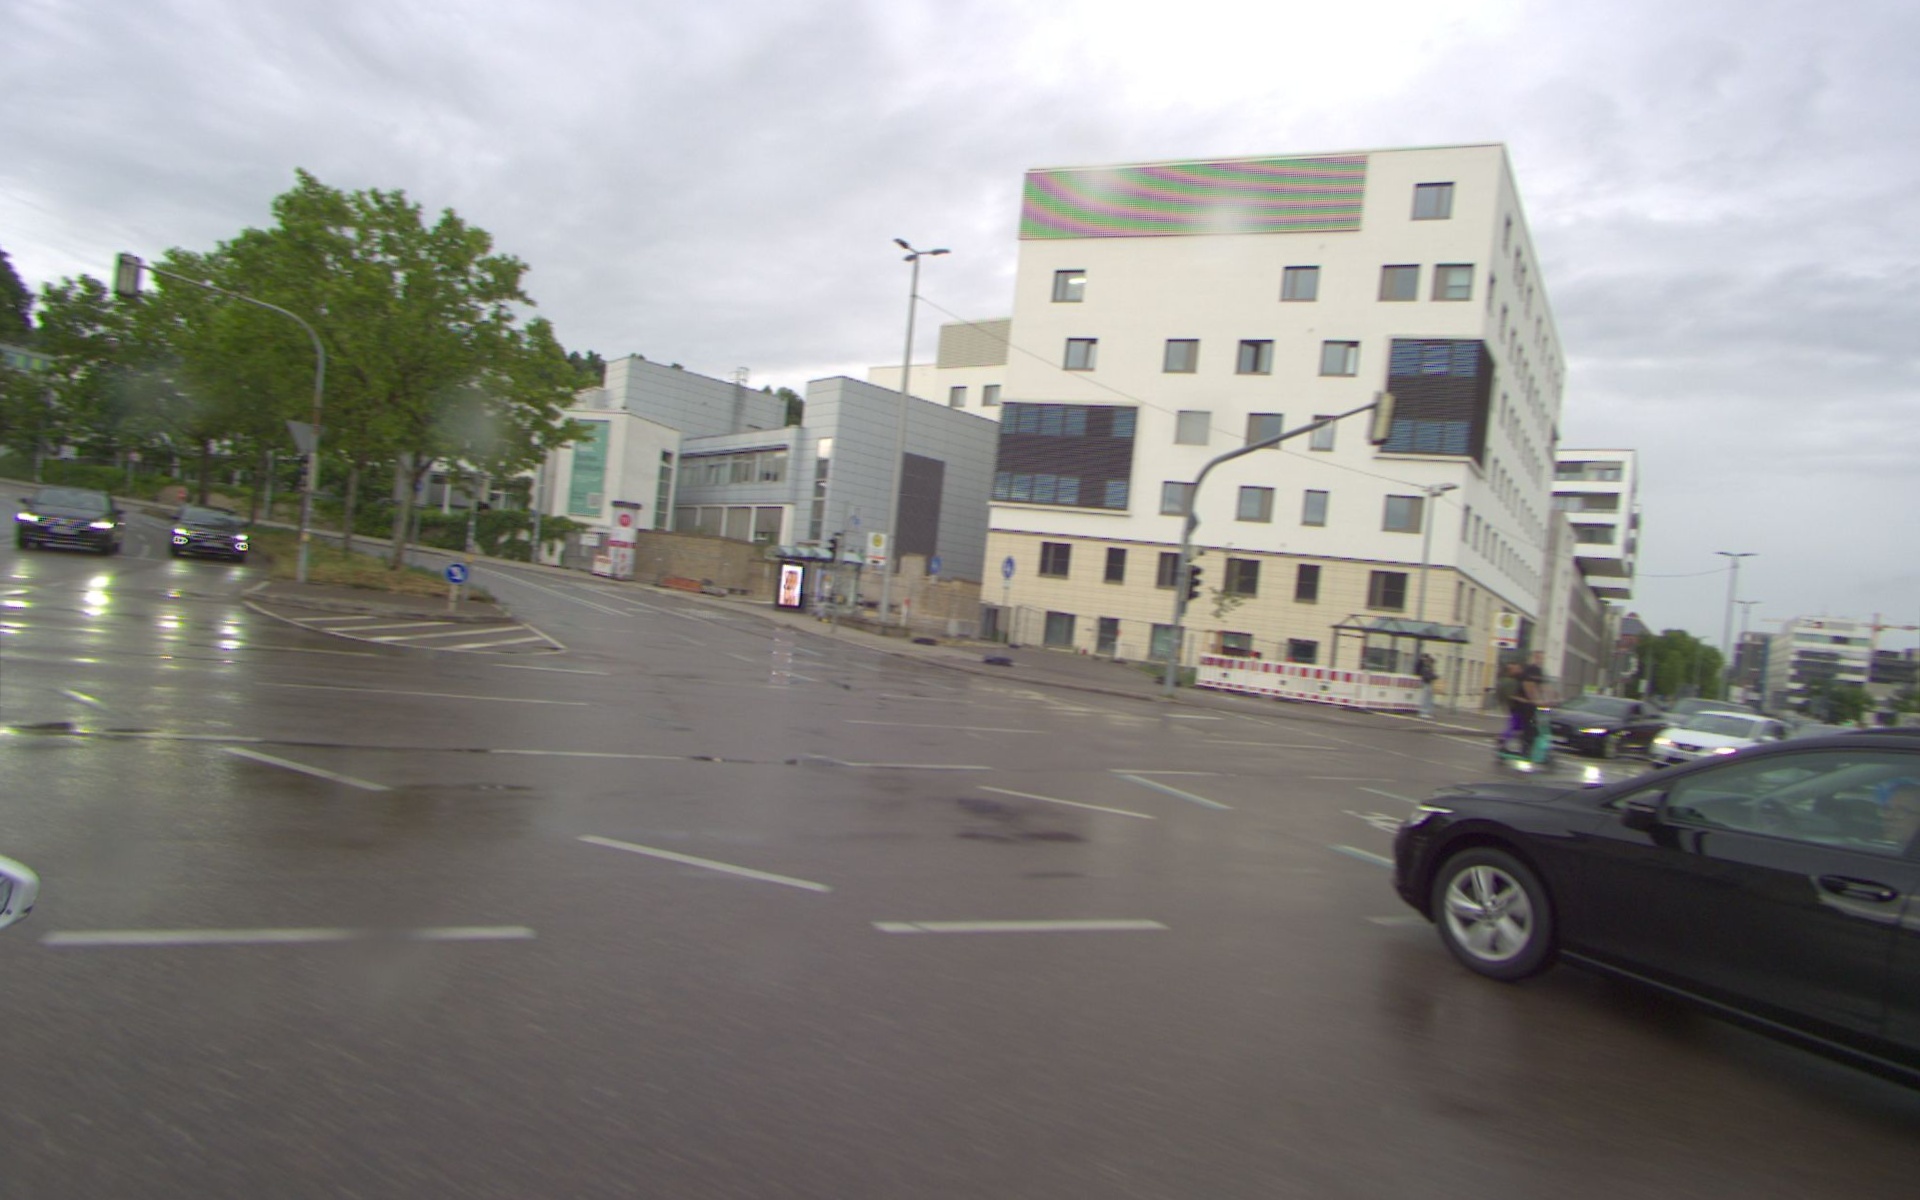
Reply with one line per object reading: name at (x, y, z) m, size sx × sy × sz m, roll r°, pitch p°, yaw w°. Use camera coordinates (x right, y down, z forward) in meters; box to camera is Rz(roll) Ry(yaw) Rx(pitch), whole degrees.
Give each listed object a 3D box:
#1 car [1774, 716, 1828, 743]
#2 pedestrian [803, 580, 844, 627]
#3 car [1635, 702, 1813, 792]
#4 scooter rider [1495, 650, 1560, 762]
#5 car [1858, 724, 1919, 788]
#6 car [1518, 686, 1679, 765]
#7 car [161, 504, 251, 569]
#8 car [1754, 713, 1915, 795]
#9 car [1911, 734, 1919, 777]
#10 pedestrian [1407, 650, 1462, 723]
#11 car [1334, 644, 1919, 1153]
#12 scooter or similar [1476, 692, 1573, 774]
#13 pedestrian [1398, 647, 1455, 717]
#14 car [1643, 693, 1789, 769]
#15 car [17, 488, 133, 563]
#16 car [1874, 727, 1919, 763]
car at (58.654, 9.024, 70.234) m, size 1.966 × 1.395 × 4.382 m, roll 7°, pitch -1°, yaw 29°
pedestrian at (-5.629, 0.149, 41.336) m, size 1.245 × 1.739 × 1.011 m, roll 8°, pitch -1°, yaw -22°
car at (16.225, 3.129, 21.312) m, size 3.964 × 1.461 × 1.781 m, roll 8°, pitch 0°, yaw -35°
scooter rider at (10.257, 1.912, 18.172) m, size 0.721 × 1.904 × 0.625 m, roll 9°, pitch -1°, yaw -40°
car at (27.785, 4.646, 29.158) m, size 4.132 × 1.554 × 1.945 m, roll 10°, pitch -1°, yaw -40°
car at (15.393, 3.032, 24.208) m, size 3.964 × 1.461 × 1.781 m, roll 8°, pitch 0°, yaw -35°
car at (-23.019, -1.973, 30.668) m, size 1.782 × 1.604 × 3.953 m, roll 7°, pitch 0°, yaw -42°
car at (21.665, 3.807, 24.880) m, size 4.489 × 1.576 × 1.947 m, roll 7°, pitch 0°, yaw -36°
car at (34.991, 5.675, 35.188) m, size 4.132 × 1.466 × 1.945 m, roll 10°, pitch -2°, yaw -40°
pedestrian at (13.160, 2.404, 27.907) m, size 0.945 × 1.861 × 0.817 m, roll 9°, pitch -1°, yaw -31°
car at (3.936, 1.221, 4.033) m, size 1.656 × 1.484 × 4.480 m, roll 8°, pitch 0°, yaw -27°
scooter or similar at (10.183, 2.395, 18.169) m, size 0.589 × 1.253 × 1.298 m, roll 9°, pitch -2°, yaw -41°
pedestrian at (14.167, 2.491, 30.587) m, size 0.989 × 1.957 × 0.953 m, roll 8°, pitch -1°, yaw -11°
car at (21.060, 3.660, 27.980) m, size 4.349 × 1.685 × 1.980 m, roll 7°, pitch 0°, yaw -37°
car at (-23.128, -1.978, 26.434) m, size 1.858 × 1.584 × 4.231 m, roll 6°, pitch 1°, yaw -37°
car at (55.678, 8.583, 59.603) m, size 1.939 × 1.720 × 4.143 m, roll 8°, pitch -2°, yaw 41°
